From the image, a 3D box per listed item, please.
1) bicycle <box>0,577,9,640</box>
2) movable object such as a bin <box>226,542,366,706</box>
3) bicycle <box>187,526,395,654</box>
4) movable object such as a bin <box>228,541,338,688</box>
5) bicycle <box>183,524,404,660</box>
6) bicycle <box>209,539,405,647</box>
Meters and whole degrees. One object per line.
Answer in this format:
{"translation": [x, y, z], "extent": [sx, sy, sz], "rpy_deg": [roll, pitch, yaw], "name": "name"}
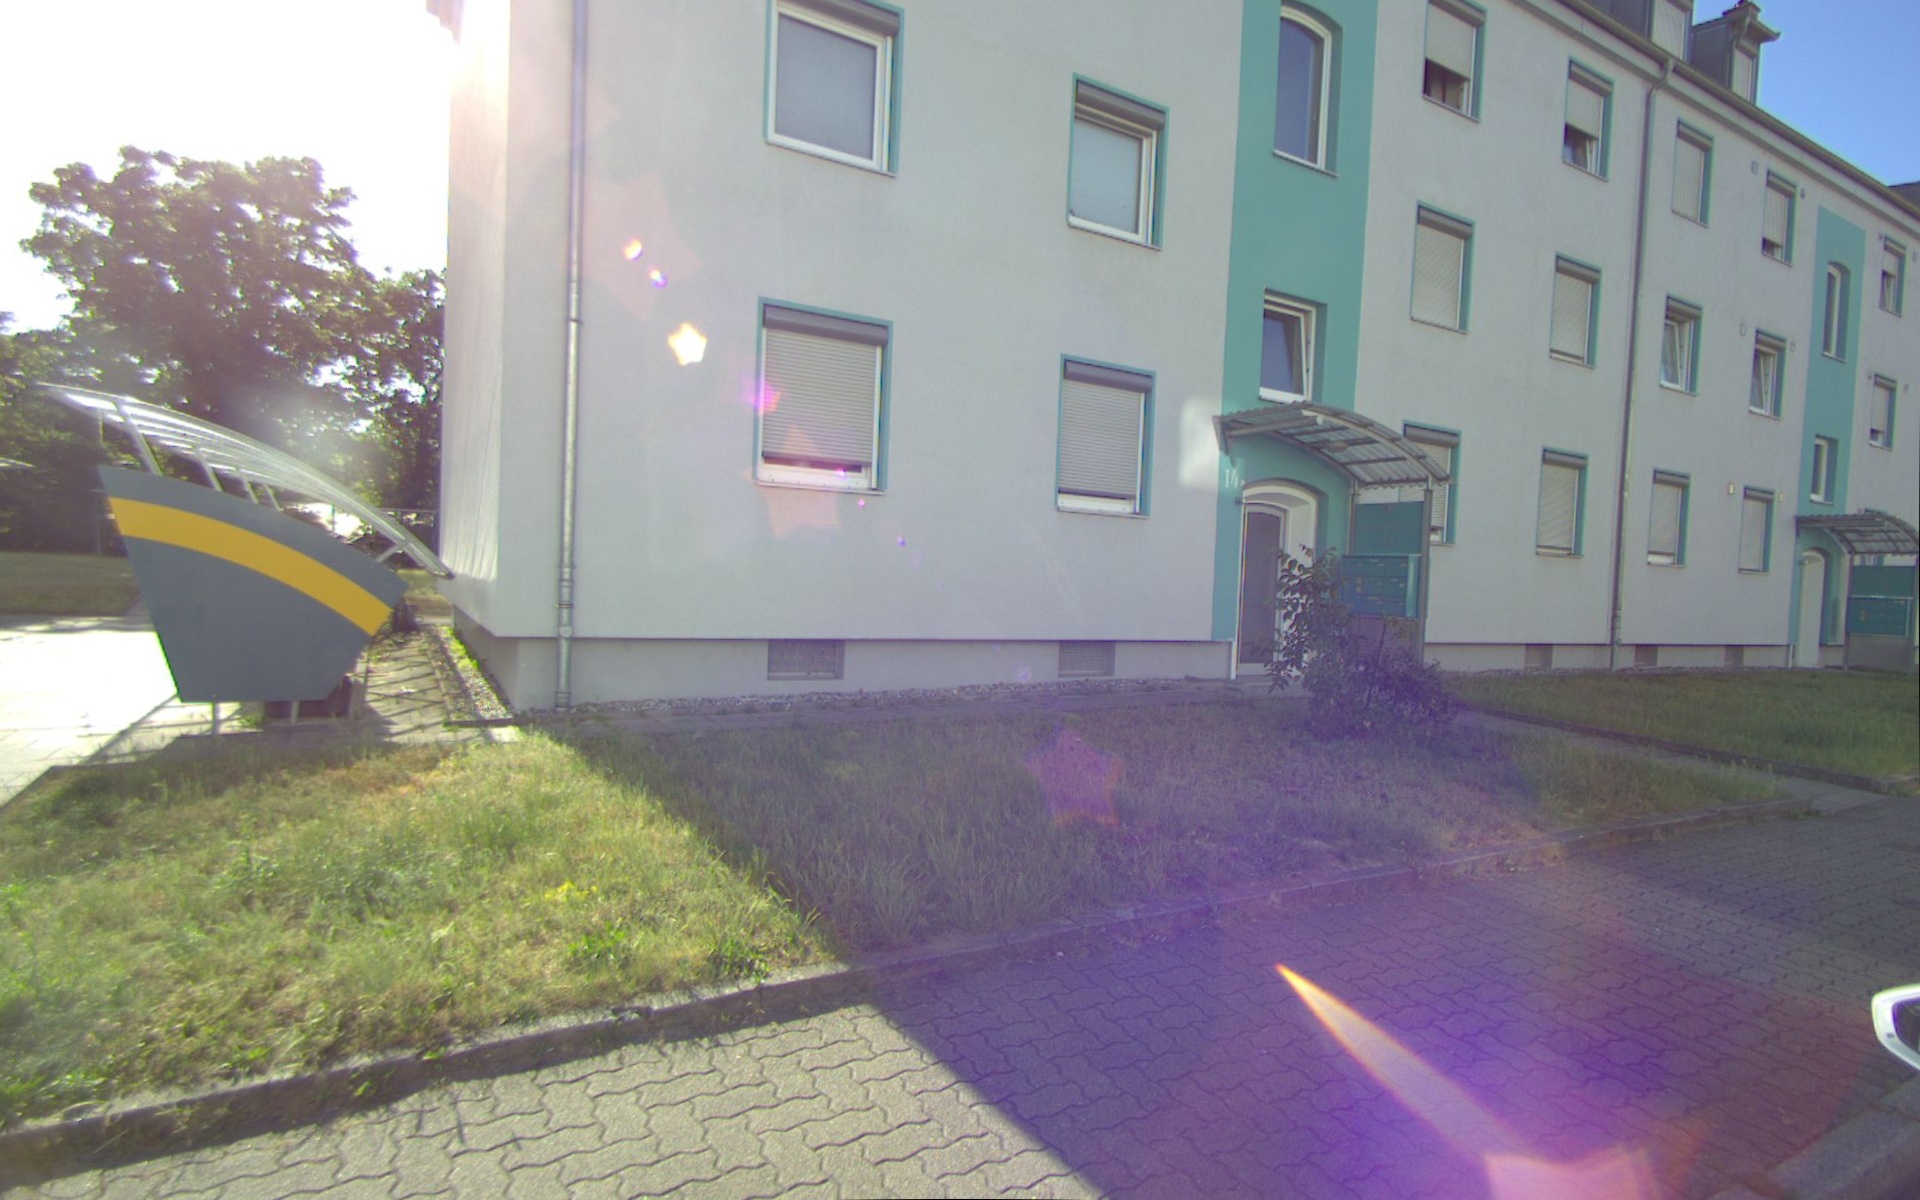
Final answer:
{"translation": [-13.251, 0.101, 12.692], "extent": [1.712, 0.808, 0.505], "rpy_deg": [1, 3, -30], "name": "bicycle"}
{"translation": [-6.078, 0.190, 9.177], "extent": [0.899, 1.374, 1.238], "rpy_deg": [1, 2, -41], "name": "movable object such as a bin"}
{"translation": [-8.541, -0.120, 12.949], "extent": [2.172, 1.546, 0.660], "rpy_deg": [1, 2, -30], "name": "bicycle"}
{"translation": [-6.874, 0.115, 10.176], "extent": [0.797, 1.366, 1.243], "rpy_deg": [0, 3, -40], "name": "movable object such as a bin"}
{"translation": [-7.981, -0.089, 12.161], "extent": [2.172, 1.530, 0.699], "rpy_deg": [1, 3, -30], "name": "bicycle"}
{"translation": [-8.797, -0.093, 13.645], "extent": [2.172, 1.375, 0.699], "rpy_deg": [1, 3, -30], "name": "bicycle"}
